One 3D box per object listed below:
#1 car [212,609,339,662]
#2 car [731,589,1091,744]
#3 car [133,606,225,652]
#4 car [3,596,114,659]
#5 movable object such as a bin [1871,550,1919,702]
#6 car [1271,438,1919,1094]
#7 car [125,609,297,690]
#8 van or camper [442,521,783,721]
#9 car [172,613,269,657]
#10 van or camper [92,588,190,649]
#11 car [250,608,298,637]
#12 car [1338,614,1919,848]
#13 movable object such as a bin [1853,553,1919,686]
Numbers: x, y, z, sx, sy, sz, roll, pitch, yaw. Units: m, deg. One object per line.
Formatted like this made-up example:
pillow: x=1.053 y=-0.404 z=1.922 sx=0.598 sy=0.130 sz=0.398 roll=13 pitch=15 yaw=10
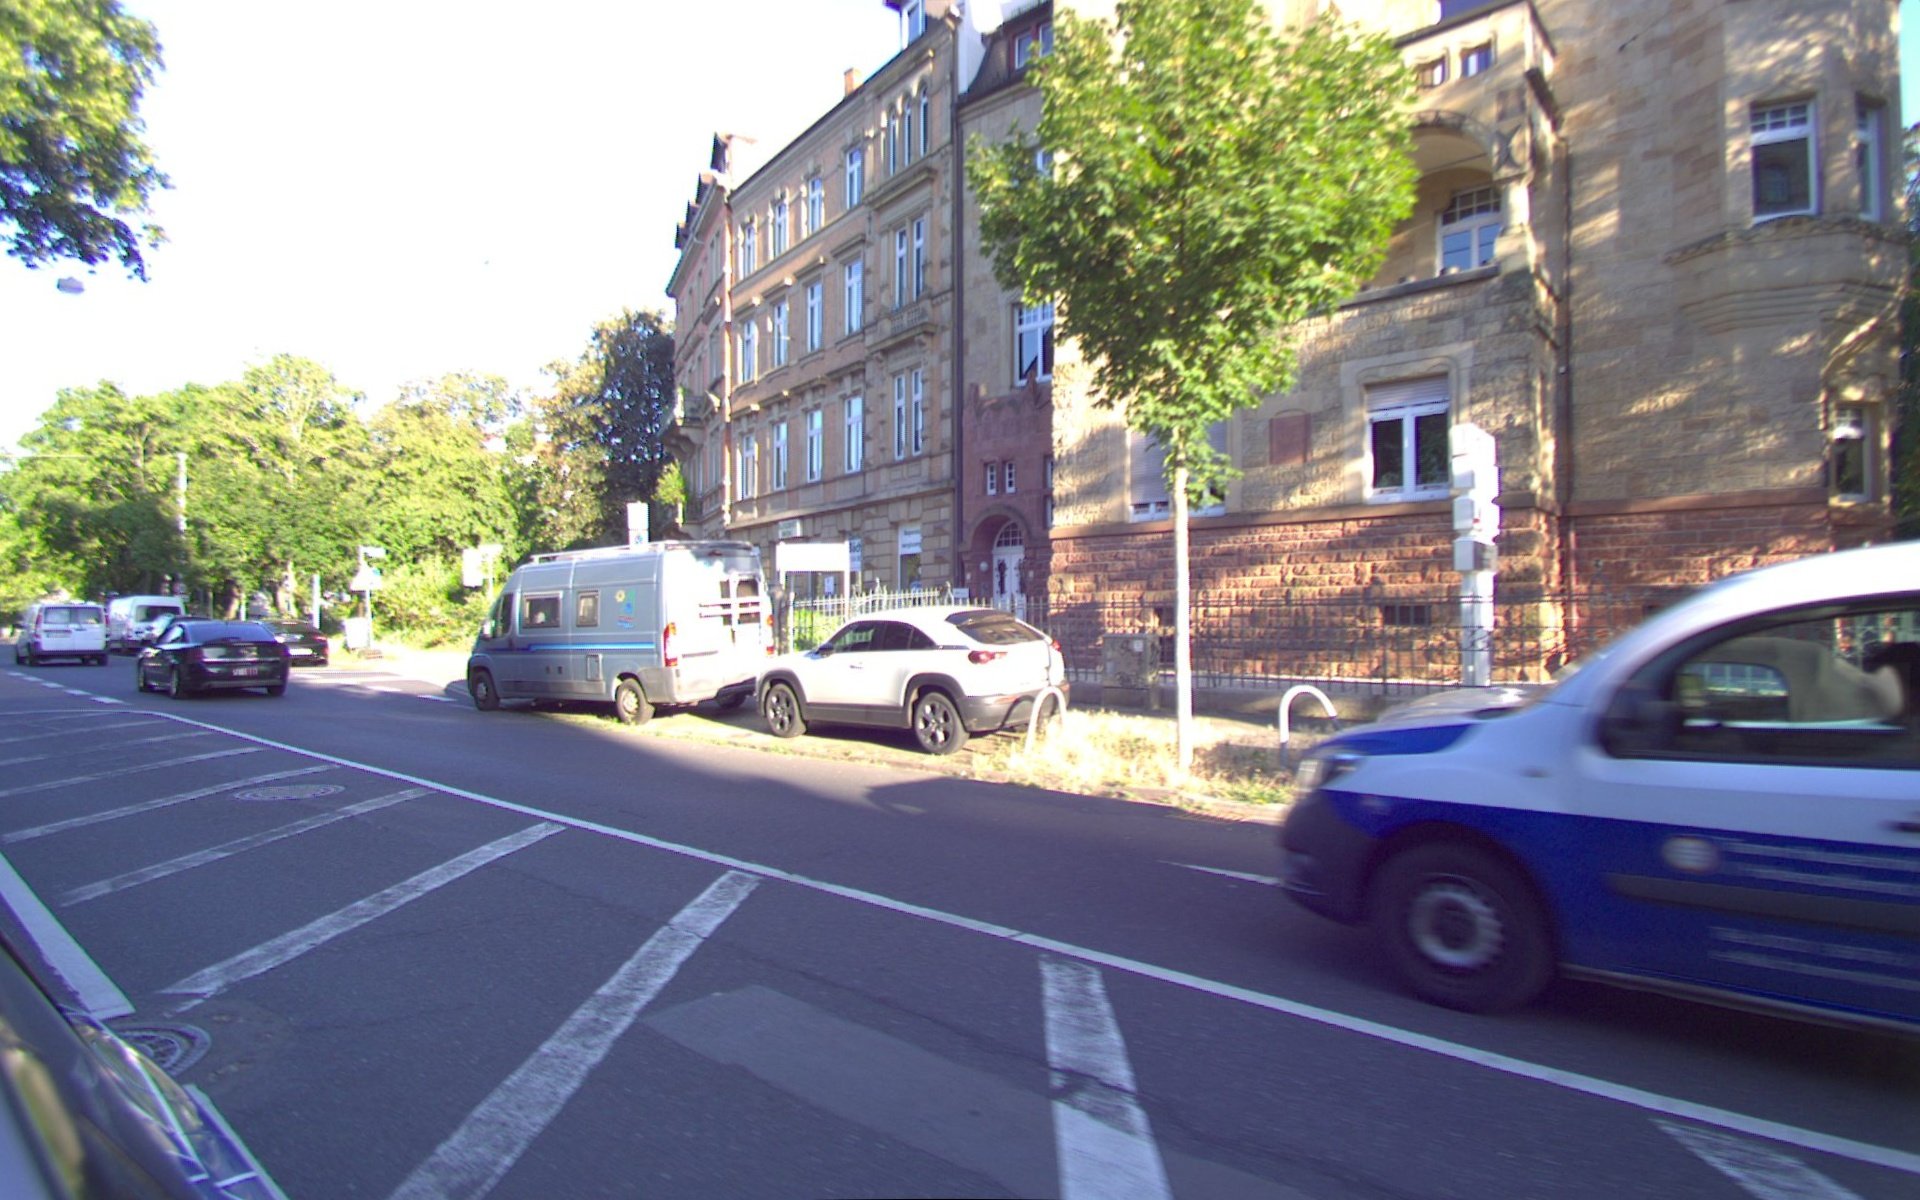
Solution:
car: x=-20.773 y=1.051 z=30.645 sx=4.826 sy=1.495 sz=1.973 roll=-1 pitch=-2 yaw=40
car: x=-0.716 y=0.696 z=12.209 sx=4.299 sy=1.546 sz=1.729 roll=-1 pitch=0 yaw=40
car: x=-29.937 y=1.119 z=38.762 sx=4.568 sy=1.657 sz=1.847 roll=-1 pitch=-2 yaw=40
car: x=-28.299 y=0.869 z=31.714 sx=5.167 sy=1.845 sz=1.972 roll=-1 pitch=-3 yaw=42
movable object such as a bin: x=10.154 y=0.216 z=10.206 sx=1.327 sy=1.388 sz=1.922 roll=-1 pitch=4 yaw=39
car: x=3.553 y=0.492 z=3.388 sx=4.470 sy=1.867 sz=1.814 roll=-1 pitch=-3 yaw=40
car: x=-14.491 y=0.924 z=19.490 sx=4.302 sy=1.397 sz=1.741 roll=-1 pitch=-3 yaw=41
van or camper: x=-5.708 y=0.283 z=16.159 sx=6.027 sy=2.688 sz=1.976 roll=-1 pitch=2 yaw=37
car: x=-25.816 y=1.194 z=35.278 sx=4.622 sy=1.456 sz=1.718 roll=-1 pitch=-2 yaw=40
van or camper: x=-35.470 y=0.836 z=43.748 sx=6.300 sy=2.487 sz=2.070 roll=-1 pitch=-3 yaw=40
car: x=-56.607 y=1.862 z=83.508 sx=5.098 sy=2.306 sz=2.191 roll=-1 pitch=-1 yaw=43
car: x=4.752 y=0.760 z=7.128 sx=3.611 sy=1.257 sz=1.520 roll=-1 pitch=0 yaw=40
movable object such as a bin: x=11.413 y=0.188 z=11.861 sx=1.327 sy=1.388 sz=1.922 roll=-1 pitch=4 yaw=39
